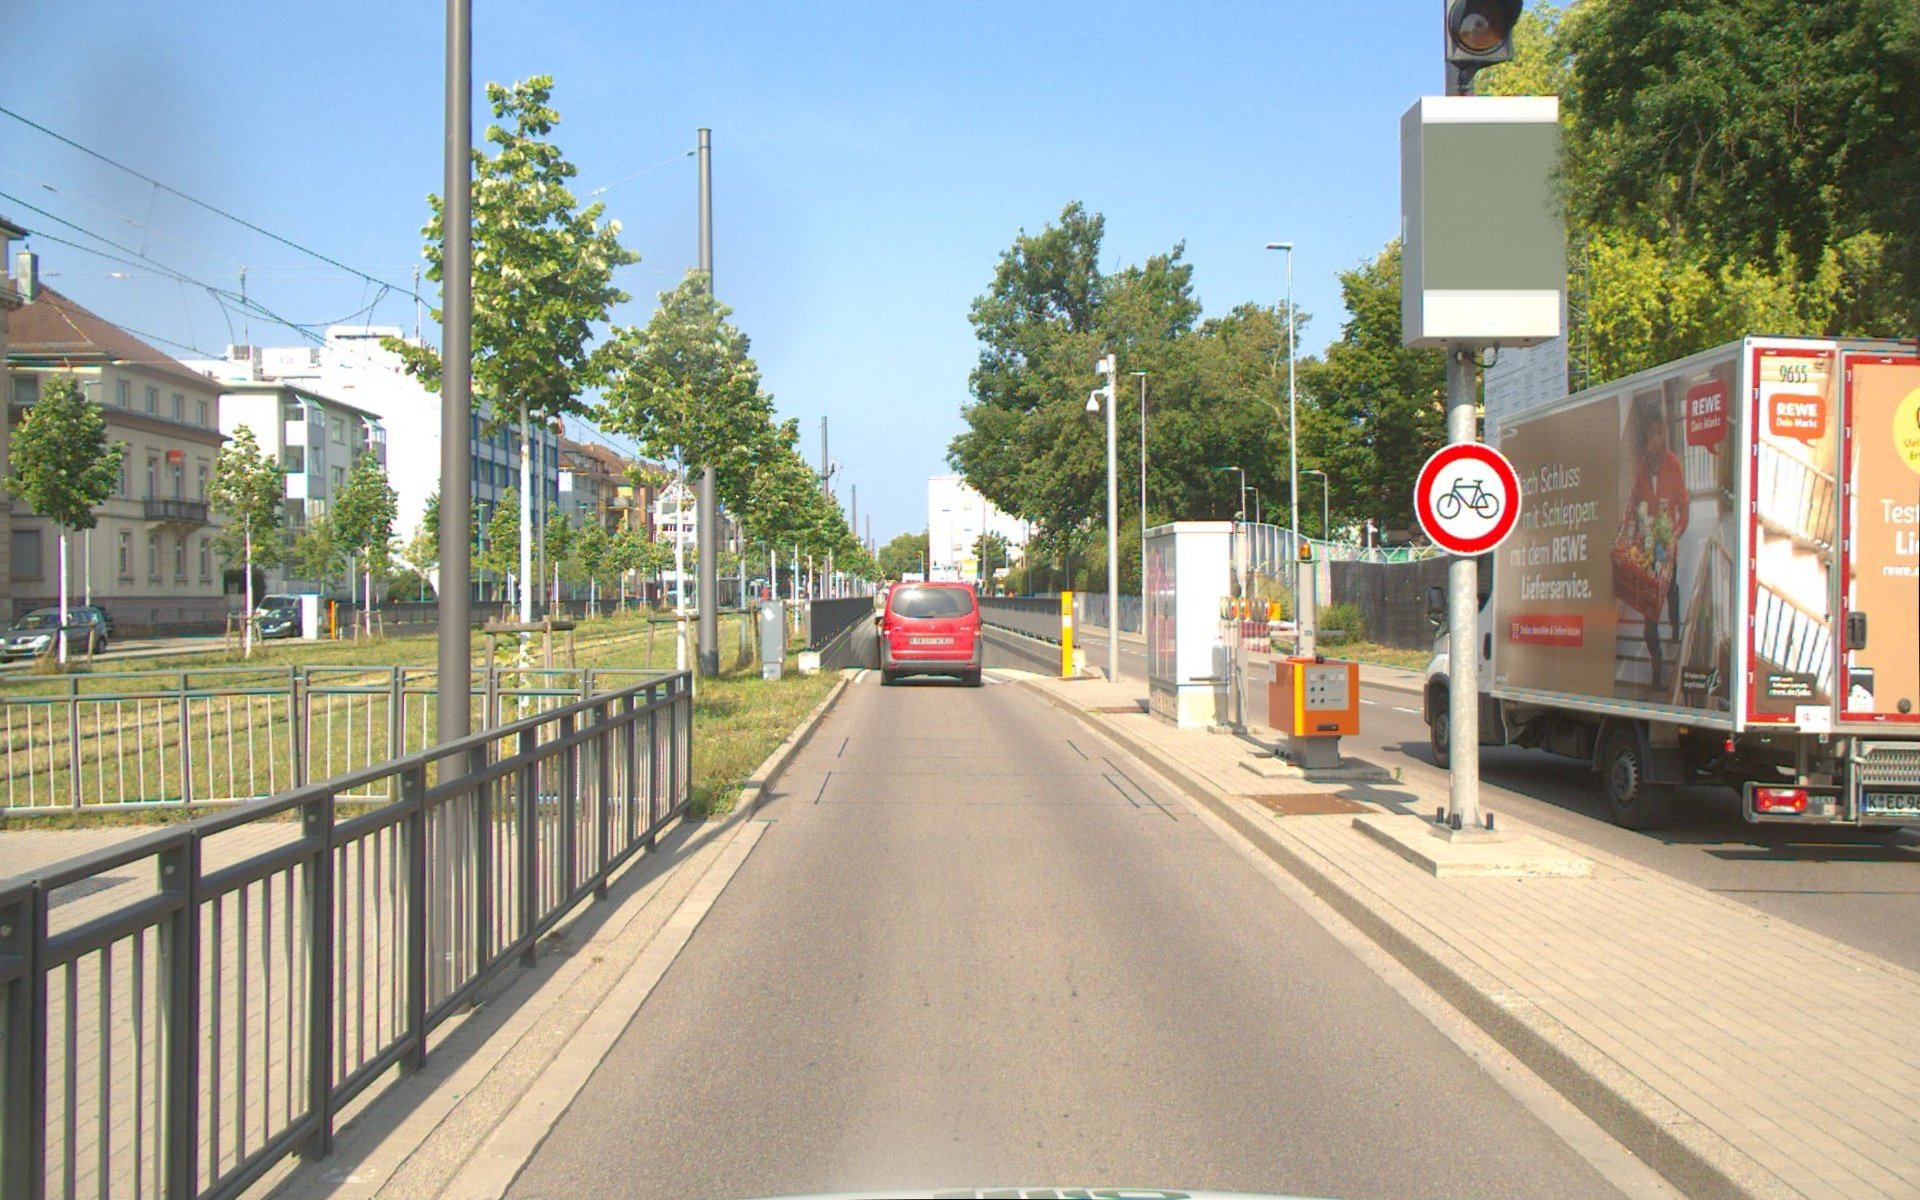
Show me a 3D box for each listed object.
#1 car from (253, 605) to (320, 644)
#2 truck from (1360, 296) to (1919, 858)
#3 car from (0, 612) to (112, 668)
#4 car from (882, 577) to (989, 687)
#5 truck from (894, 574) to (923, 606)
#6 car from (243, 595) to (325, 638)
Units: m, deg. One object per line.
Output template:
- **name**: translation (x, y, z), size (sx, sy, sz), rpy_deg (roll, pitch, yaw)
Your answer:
- **car**: translation (-28.998, 1.042, 71.269), size (1.488, 1.489, 3.822), rpy_deg (-1, 1, -3)
- **truck**: translation (5.531, -0.083, 13.172), size (2.452, 3.114, 7.816), rpy_deg (1, 0, -2)
- **car**: translation (-28.410, 1.218, 51.351), size (1.954, 1.604, 4.526), rpy_deg (-1, 0, -3)
- **car**: translation (-0.450, 0.565, 31.292), size (1.862, 1.892, 3.999), rpy_deg (1, 0, -1)
- **truck**: translation (-6.320, -1.210, 200.615), size (3.323, 3.791, 10.446), rpy_deg (-1, 0, -3)
- **car**: translation (-34.052, 0.875, 83.476), size (2.205, 2.049, 5.259), rpy_deg (2, -2, -3)
